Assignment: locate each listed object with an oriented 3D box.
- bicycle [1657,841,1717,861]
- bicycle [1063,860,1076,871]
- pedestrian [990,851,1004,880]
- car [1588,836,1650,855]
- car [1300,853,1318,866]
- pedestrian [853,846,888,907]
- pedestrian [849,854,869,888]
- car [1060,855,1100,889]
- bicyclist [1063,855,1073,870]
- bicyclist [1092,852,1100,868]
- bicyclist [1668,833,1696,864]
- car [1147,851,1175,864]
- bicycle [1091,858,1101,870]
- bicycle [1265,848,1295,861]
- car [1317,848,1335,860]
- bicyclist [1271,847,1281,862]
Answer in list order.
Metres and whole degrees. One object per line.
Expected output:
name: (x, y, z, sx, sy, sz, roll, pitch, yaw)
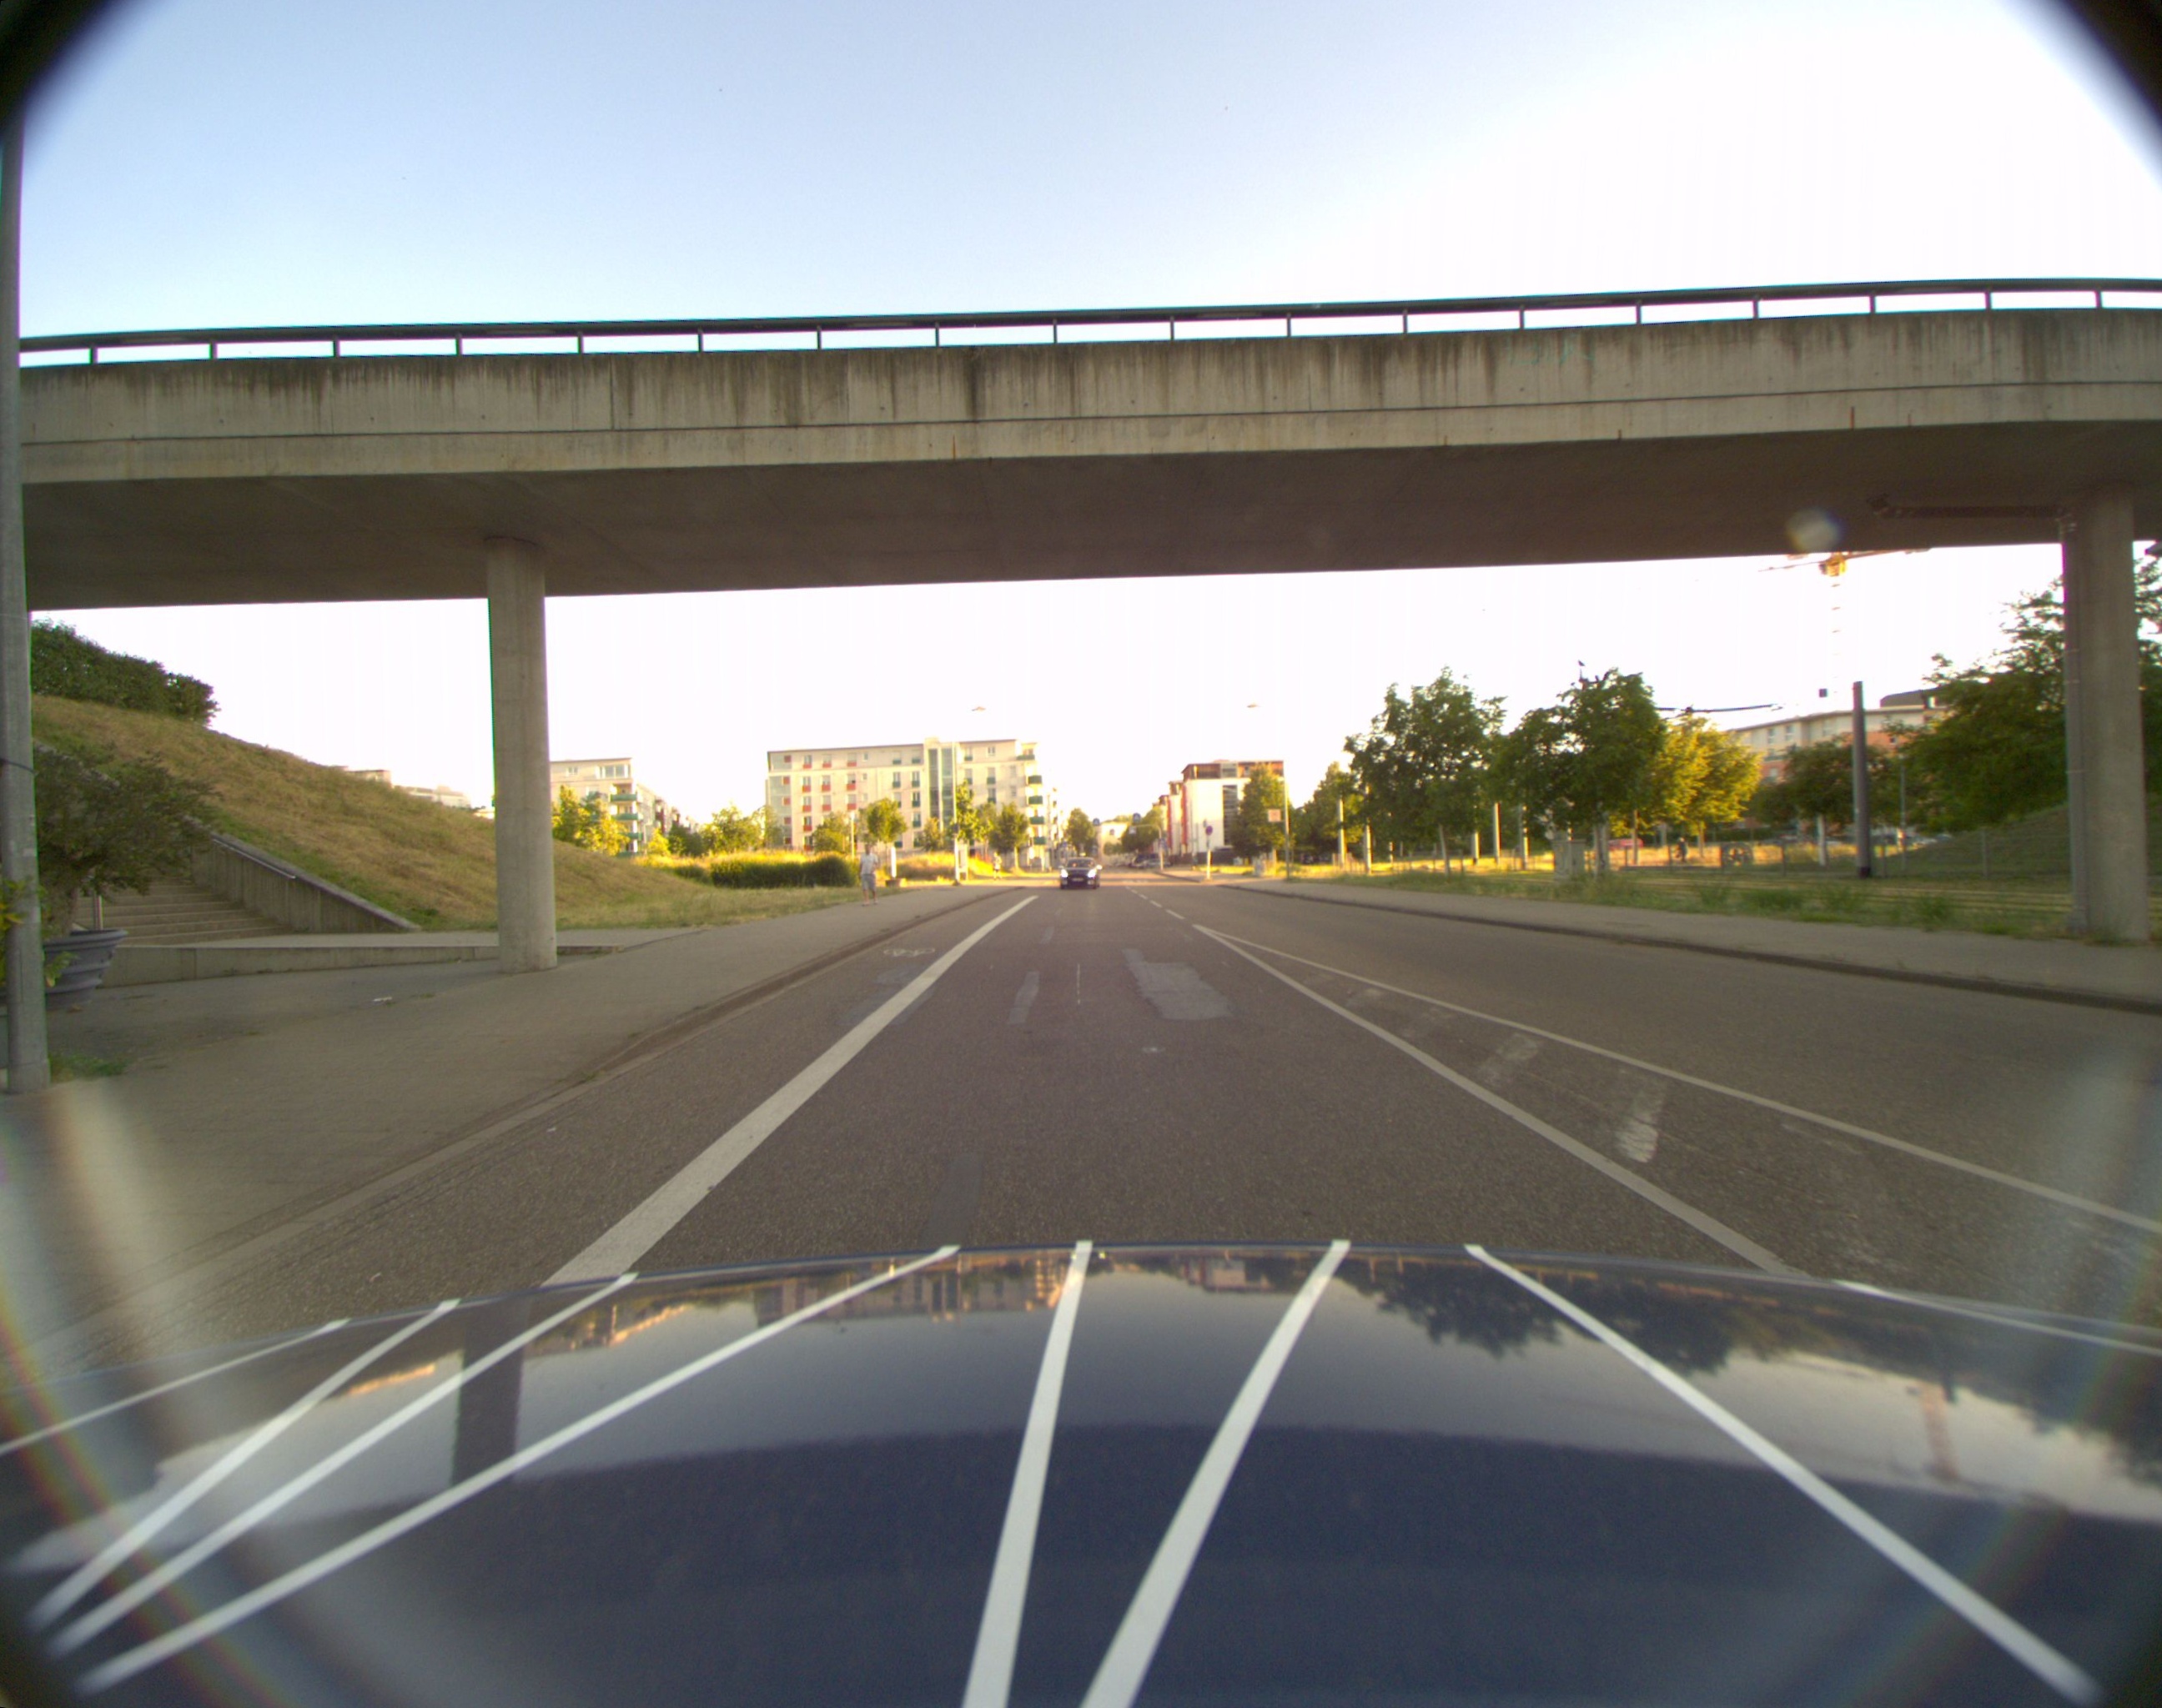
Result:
bicycle: (33.070, -0.171, 41.497, 2.842, 1.002, 0.655, -2, 0, -3)
bicycle: (-1.221, 1.165, 79.812, 0.900, 1.142, 3.496, -2, 0, -8)
pedestrian: (-4.885, 0.665, 44.227, 0.737, 1.714, 0.532, 0, 0, 1)
car: (62.248, -1.015, 87.936, 5.520, 2.002, 2.001, -2, 0, 5)
car: (29.118, 0.684, 97.118, 1.942, 1.521, 4.004, -2, 0, 14)
pedestrian: (-6.017, 0.640, 21.745, 0.737, 1.714, 0.906, 0, 0, 1)
pedestrian: (-10.908, 0.820, 37.354, 0.737, 1.620, 0.859, 0, 0, 2)
car: (-0.029, 0.794, 35.871, 1.739, 1.455, 4.000, -2, 0, 1)
bicyclist: (-1.348, 0.889, 79.977, 0.932, 1.585, 1.067, -2, 0, -6)
bicyclist: (1.529, 0.618, 79.937, 0.697, 1.630, 0.851, -2, 0, -5)
bicyclist: (32.893, -0.297, 41.603, 0.910, 1.622, 0.717, -2, 0, -4)
car: (11.889, 0.546, 113.646, 3.996, 1.718, 2.000, -2, 0, 2)
bicycle: (1.570, 1.080, 80.150, 0.662, 1.217, 2.438, -2, 0, -6)
bicycle: (23.930, 0.047, 91.415, 3.317, 1.483, 0.888, -2, 0, 6)
car: (31.164, 0.000, 96.738, 1.942, 1.521, 4.004, -2, 0, 14)
bicyclist: (23.447, 0.069, 91.435, 1.033, 1.865, 0.883, -1, 1, 1)
